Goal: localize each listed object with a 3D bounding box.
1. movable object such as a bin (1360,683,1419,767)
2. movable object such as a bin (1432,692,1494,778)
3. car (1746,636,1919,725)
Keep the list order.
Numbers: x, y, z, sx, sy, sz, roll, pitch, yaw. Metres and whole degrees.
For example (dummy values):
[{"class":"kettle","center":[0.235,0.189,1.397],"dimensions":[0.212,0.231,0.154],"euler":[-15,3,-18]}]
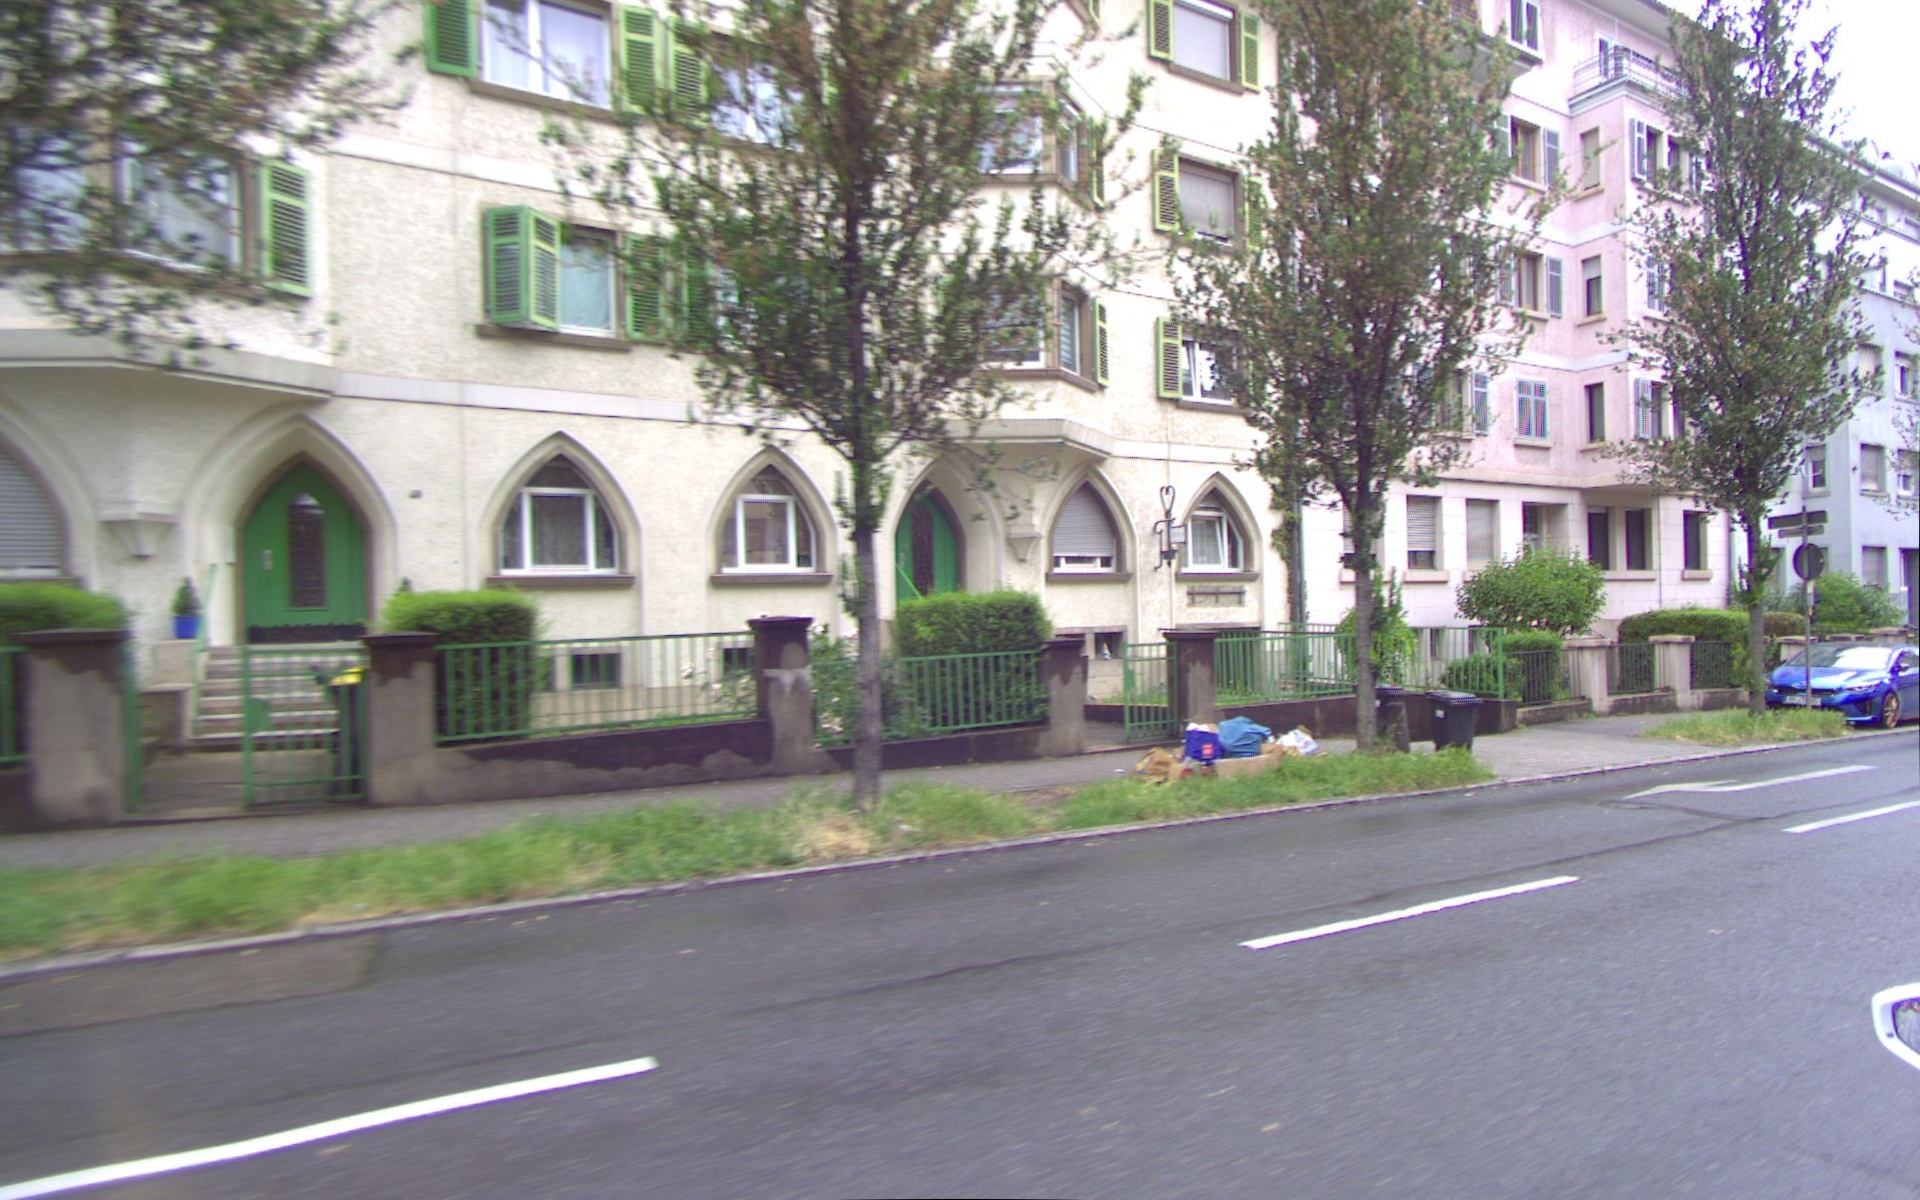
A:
[{"class":"movable object such as a bin","center":[5.083,1.466,11.885],"dimensions":[0.566,0.923,0.362],"euler":[2,0,-30]},{"class":"movable object such as a bin","center":[5.659,1.508,11.305],"dimensions":[0.566,0.901,0.362],"euler":[2,0,-30]},{"class":"car","center":[16.066,1.378,17.904],"dimensions":[4.548,1.404,1.671],"euler":[2,-2,-30]}]
